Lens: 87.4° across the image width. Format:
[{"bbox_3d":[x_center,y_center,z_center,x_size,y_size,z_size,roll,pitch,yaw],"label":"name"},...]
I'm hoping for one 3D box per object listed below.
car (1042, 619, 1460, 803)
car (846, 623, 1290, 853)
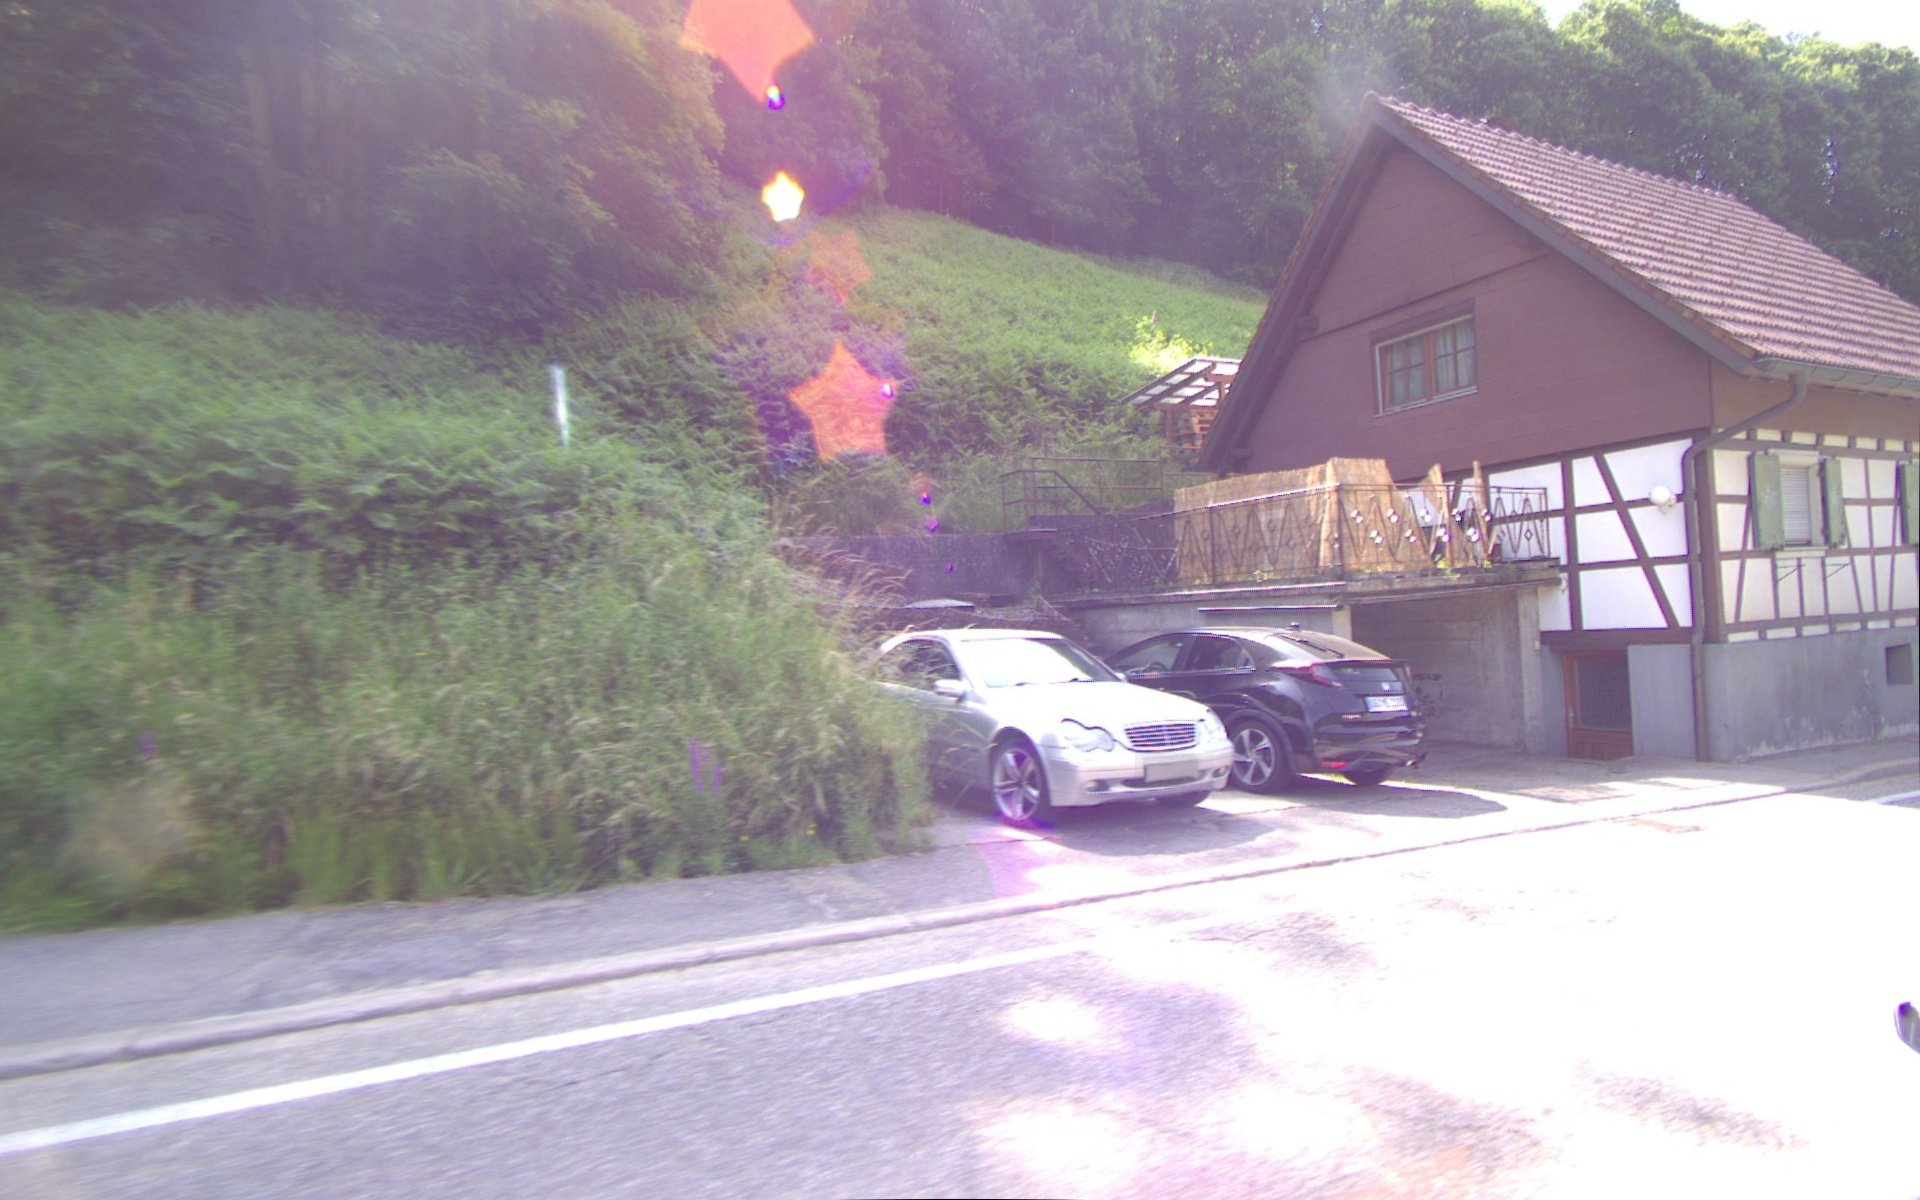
[{"bbox_3d":[2.670,0.982,10.051,1.843,1.451,3.797,2,-3,-31],"label":"car"},{"bbox_3d":[0.652,0.924,8.442,1.836,1.435,3.798,1,-2,-30],"label":"car"}]
